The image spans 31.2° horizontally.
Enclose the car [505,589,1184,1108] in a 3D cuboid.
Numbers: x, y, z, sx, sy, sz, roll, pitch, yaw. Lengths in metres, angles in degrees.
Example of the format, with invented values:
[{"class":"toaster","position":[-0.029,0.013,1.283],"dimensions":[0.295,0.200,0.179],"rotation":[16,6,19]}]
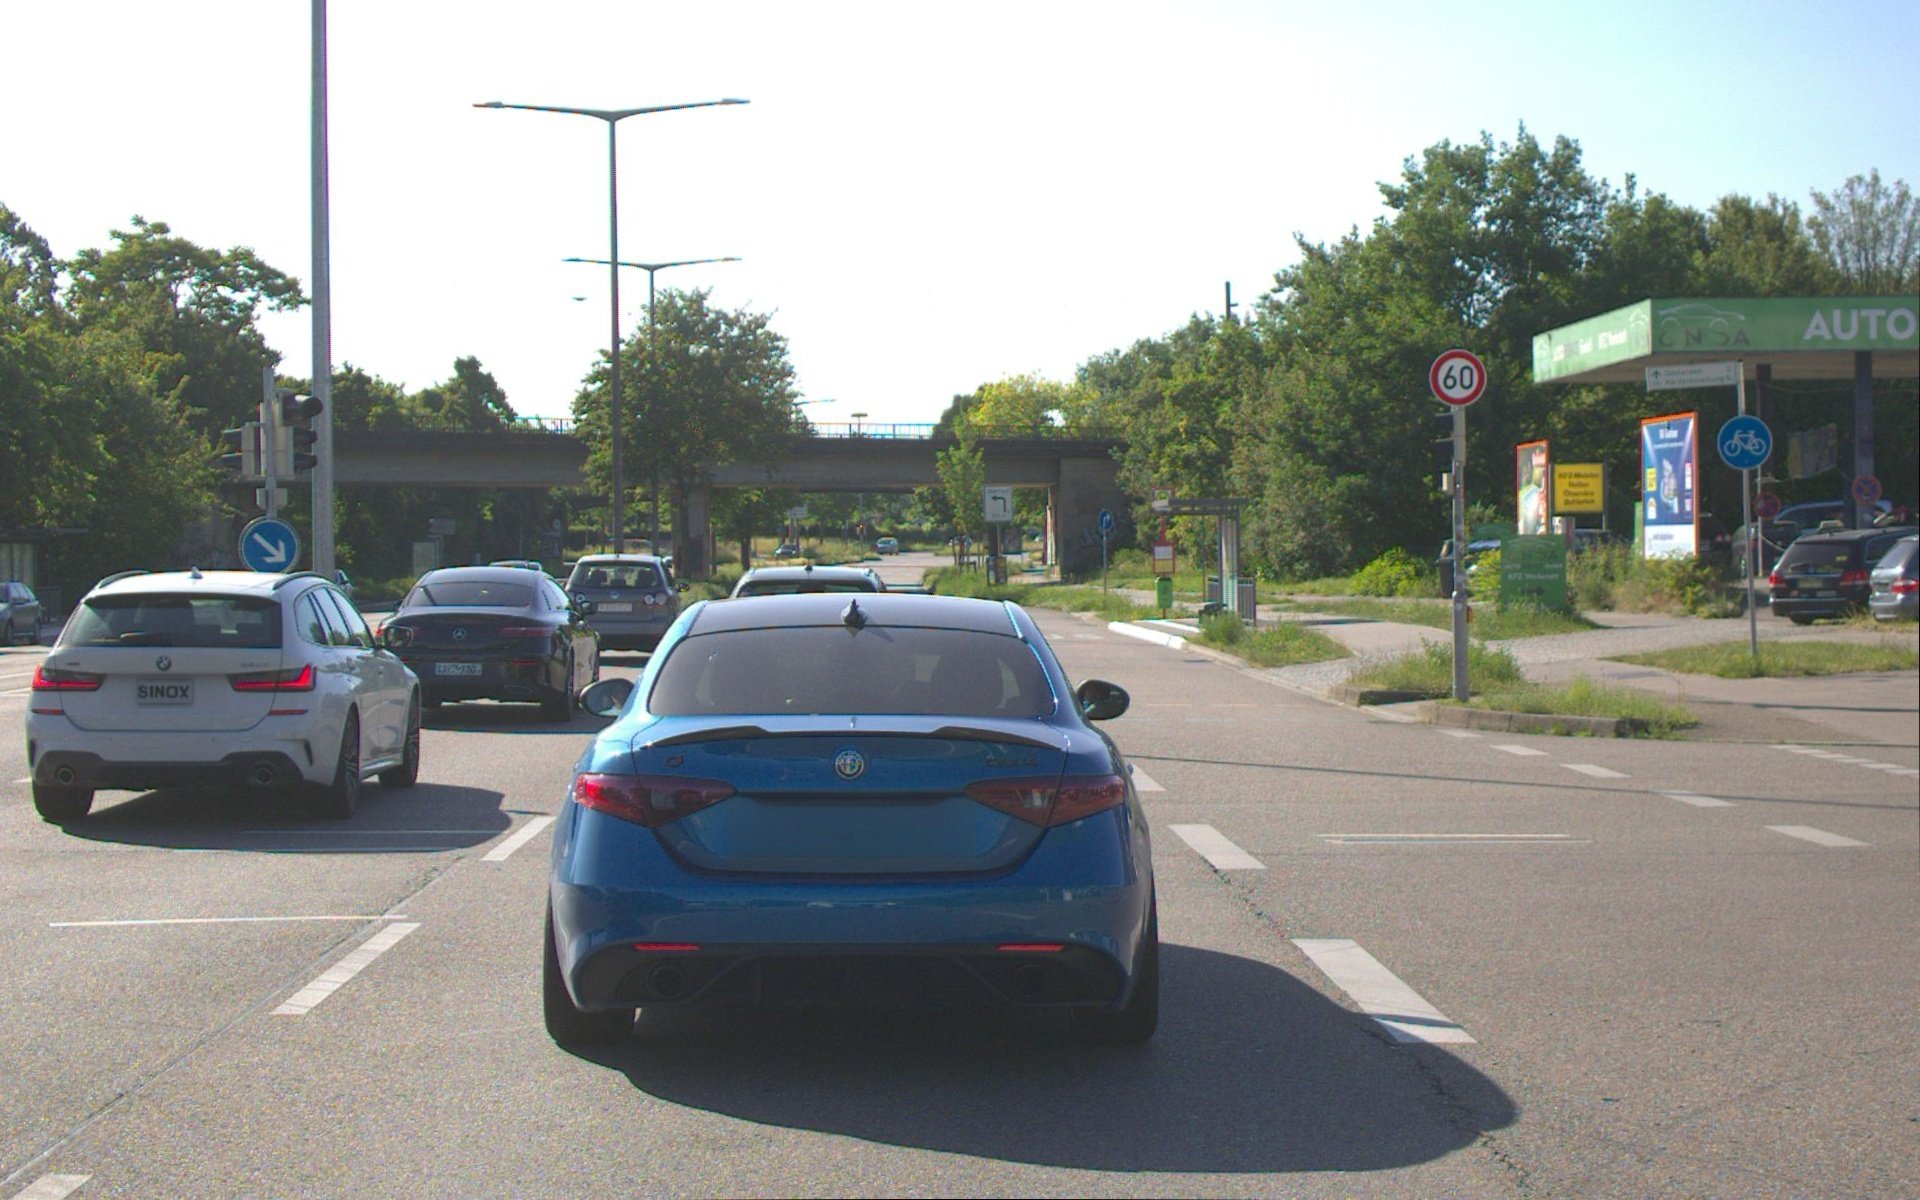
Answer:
[{"class":"car","position":[-0.371,0.693,11.751],"dimensions":[1.883,1.401,4.224],"rotation":[1,1,-1]}]

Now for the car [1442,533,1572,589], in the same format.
[{"class":"car","position":[15.052,-1.079,94.716],"dimensions":[3.284,1.481,1.772],"rotation":[1,0,1]}]

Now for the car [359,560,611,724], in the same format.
[{"class":"car","position":[-4.493,0.355,33.114],"dimensions":[1.883,1.449,4.526],"rotation":[1,1,-1]}]

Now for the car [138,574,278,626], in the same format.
[{"class":"car","position":[-21.272,-0.007,97.387],"dimensions":[1.995,1.371,4.620],"rotation":[-1,1,14]}]

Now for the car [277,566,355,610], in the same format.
[{"class":"car","position":[-22.434,-0.439,119.832],"dimensions":[1.993,1.469,4.196],"rotation":[-1,1,-1]}]

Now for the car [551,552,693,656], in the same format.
[{"class":"car","position":[-4.976,0.025,51.058],"dimensions":[1.779,1.449,4.182],"rotation":[-1,1,-1]}]

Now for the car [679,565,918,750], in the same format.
[{"class":"car","position":[-1.336,0.434,29.609],"dimensions":[1.883,1.449,4.526],"rotation":[1,1,-1]}]

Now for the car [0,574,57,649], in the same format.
[{"class":"car","position":[-21.323,0.248,75.411],"dimensions":[1.993,1.520,4.196],"rotation":[-1,1,-1]}]

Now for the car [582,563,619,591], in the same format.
[{"class":"car","position":[-20.183,-1.302,193.096],"dimensions":[1.641,1.446,4.112],"rotation":[-3,1,-1]}]

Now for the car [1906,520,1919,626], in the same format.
[{"class":"car","position":[14.778,-0.586,45.758],"dimensions":[3.920,1.447,1.724],"rotation":[-7,0,10]}]

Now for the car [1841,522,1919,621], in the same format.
[{"class":"car","position":[14.654,-0.583,48.951],"dimensions":[3.606,1.286,1.841],"rotation":[-8,0,0]}]

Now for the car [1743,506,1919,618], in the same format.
[{"class":"car","position":[14.237,-0.638,53.243],"dimensions":[1.899,1.526,4.824],"rotation":[-2,1,42]}]

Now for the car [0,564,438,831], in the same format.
[{"class":"car","position":[-4.467,0.517,21.228],"dimensions":[1.883,1.449,4.526],"rotation":[1,1,-1]}]

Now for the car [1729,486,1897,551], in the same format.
[{"class":"car","position":[23.092,-2.198,93.159],"dimensions":[4.037,1.526,1.734],"rotation":[-3,0,1]}]
